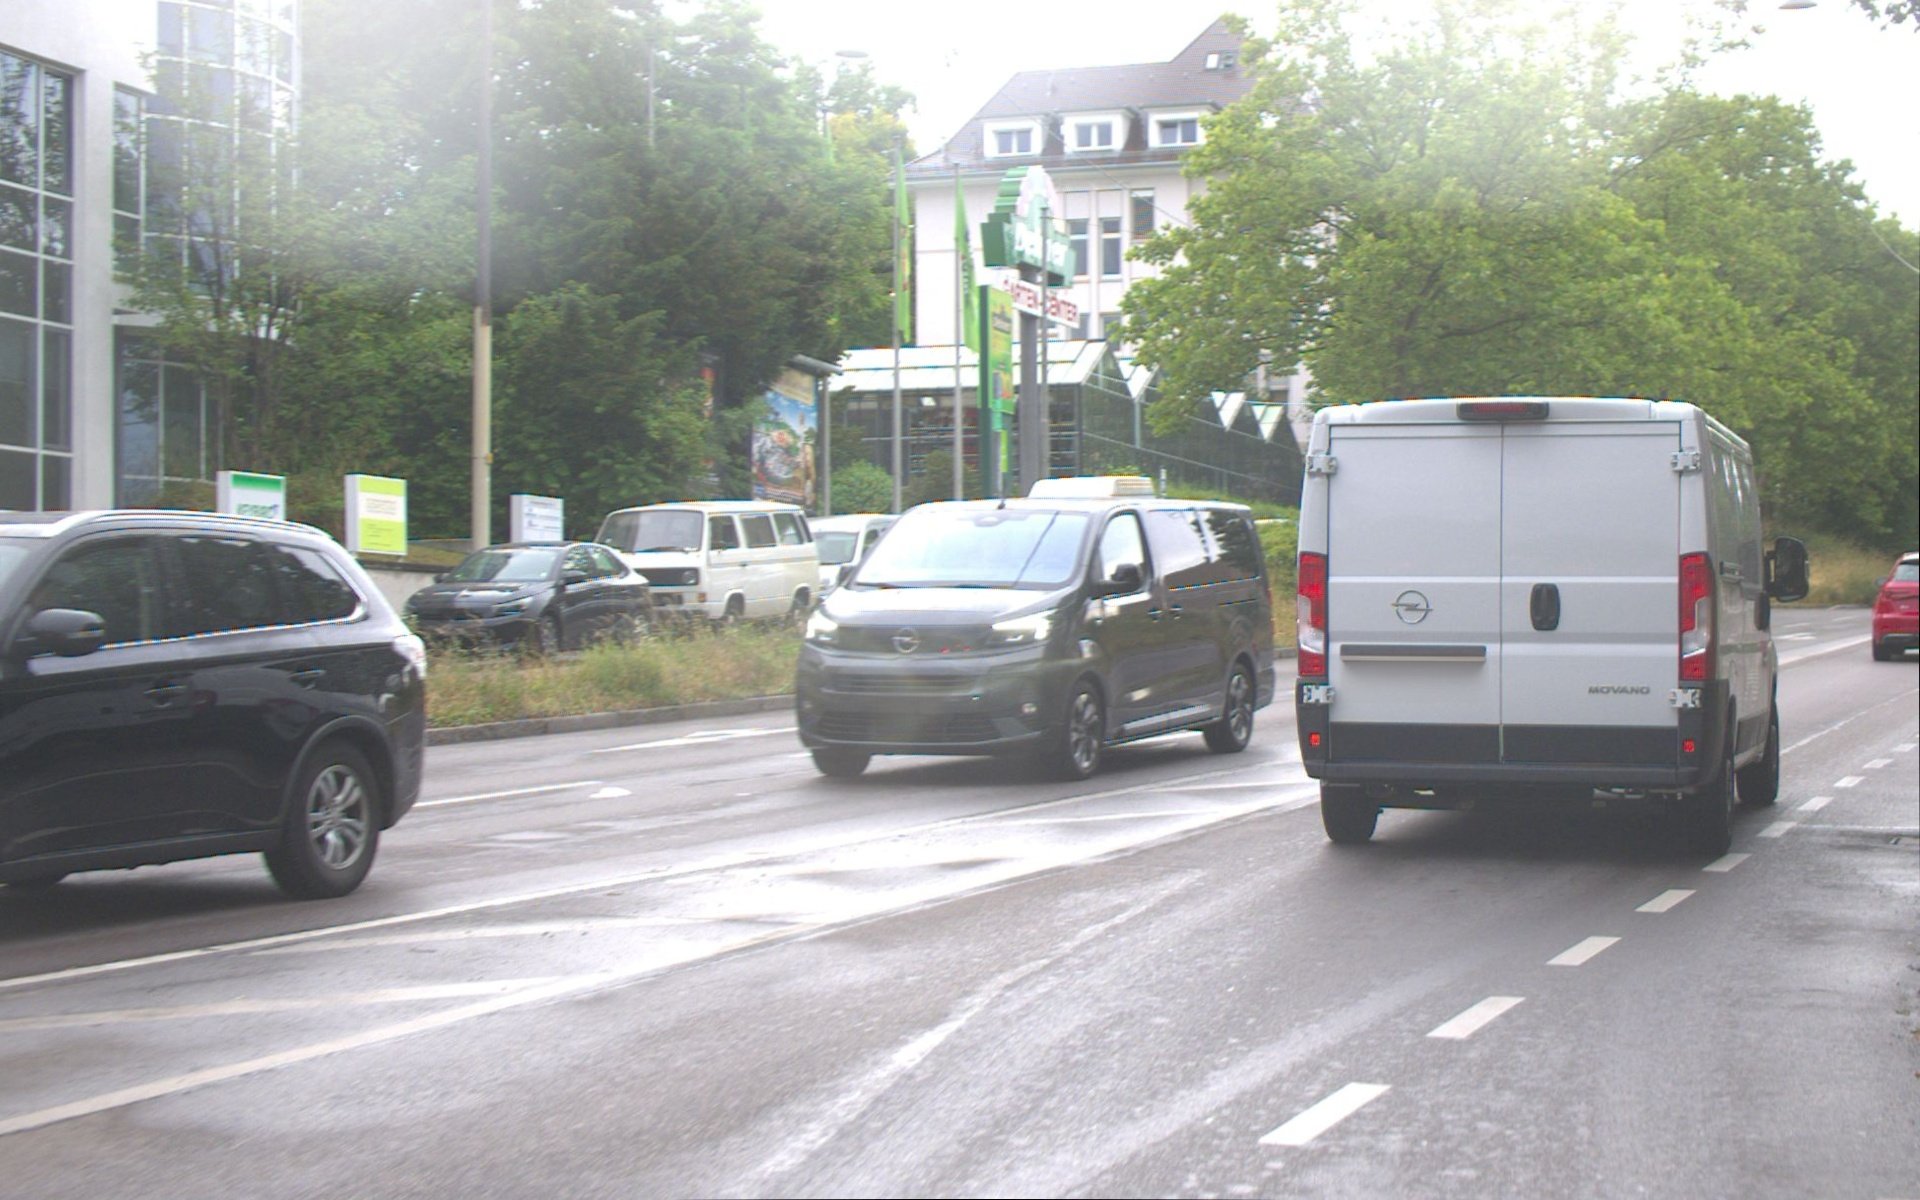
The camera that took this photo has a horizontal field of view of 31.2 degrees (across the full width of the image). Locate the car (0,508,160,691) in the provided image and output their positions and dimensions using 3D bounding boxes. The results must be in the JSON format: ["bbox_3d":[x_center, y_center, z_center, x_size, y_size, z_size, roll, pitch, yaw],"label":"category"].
[{"bbox_3d":[-8.880,0.009,29.526,1.689,1.529,4.668,-1,2,19],"label":"car"}]

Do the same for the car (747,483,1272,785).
[{"bbox_3d":[0.495,0.173,23.875,2.017,1.860,5.036,0,1,21],"label":"car"}]

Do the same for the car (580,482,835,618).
[{"bbox_3d":[-3.344,-0.712,46.492,1.772,1.740,4.580,-1,2,19],"label":"car"}]

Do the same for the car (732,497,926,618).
[{"bbox_3d":[-1.882,-0.652,50.582,1.593,1.690,3.778,-1,2,19],"label":"car"}]

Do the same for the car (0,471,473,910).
[{"bbox_3d":[-3.912,0.354,13.698,1.690,1.599,4.722,0,-1,23],"label":"car"}]

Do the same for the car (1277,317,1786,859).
[{"bbox_3d":[3.239,-0.092,18.582,2.052,2.508,4.939,1,1,17],"label":"car"}]

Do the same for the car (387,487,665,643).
[{"bbox_3d":[-5.002,-0.445,40.142,1.612,1.716,3.990,-1,2,19],"label":"car"}]

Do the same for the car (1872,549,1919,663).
[{"bbox_3d":[12.931,0.116,44.700,1.695,1.421,3.364,1,-1,21],"label":"car"}]

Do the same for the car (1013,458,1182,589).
[{"bbox_3d":[2.745,-1.516,67.244,1.964,2.435,5.652,-1,2,16],"label":"car"}]
